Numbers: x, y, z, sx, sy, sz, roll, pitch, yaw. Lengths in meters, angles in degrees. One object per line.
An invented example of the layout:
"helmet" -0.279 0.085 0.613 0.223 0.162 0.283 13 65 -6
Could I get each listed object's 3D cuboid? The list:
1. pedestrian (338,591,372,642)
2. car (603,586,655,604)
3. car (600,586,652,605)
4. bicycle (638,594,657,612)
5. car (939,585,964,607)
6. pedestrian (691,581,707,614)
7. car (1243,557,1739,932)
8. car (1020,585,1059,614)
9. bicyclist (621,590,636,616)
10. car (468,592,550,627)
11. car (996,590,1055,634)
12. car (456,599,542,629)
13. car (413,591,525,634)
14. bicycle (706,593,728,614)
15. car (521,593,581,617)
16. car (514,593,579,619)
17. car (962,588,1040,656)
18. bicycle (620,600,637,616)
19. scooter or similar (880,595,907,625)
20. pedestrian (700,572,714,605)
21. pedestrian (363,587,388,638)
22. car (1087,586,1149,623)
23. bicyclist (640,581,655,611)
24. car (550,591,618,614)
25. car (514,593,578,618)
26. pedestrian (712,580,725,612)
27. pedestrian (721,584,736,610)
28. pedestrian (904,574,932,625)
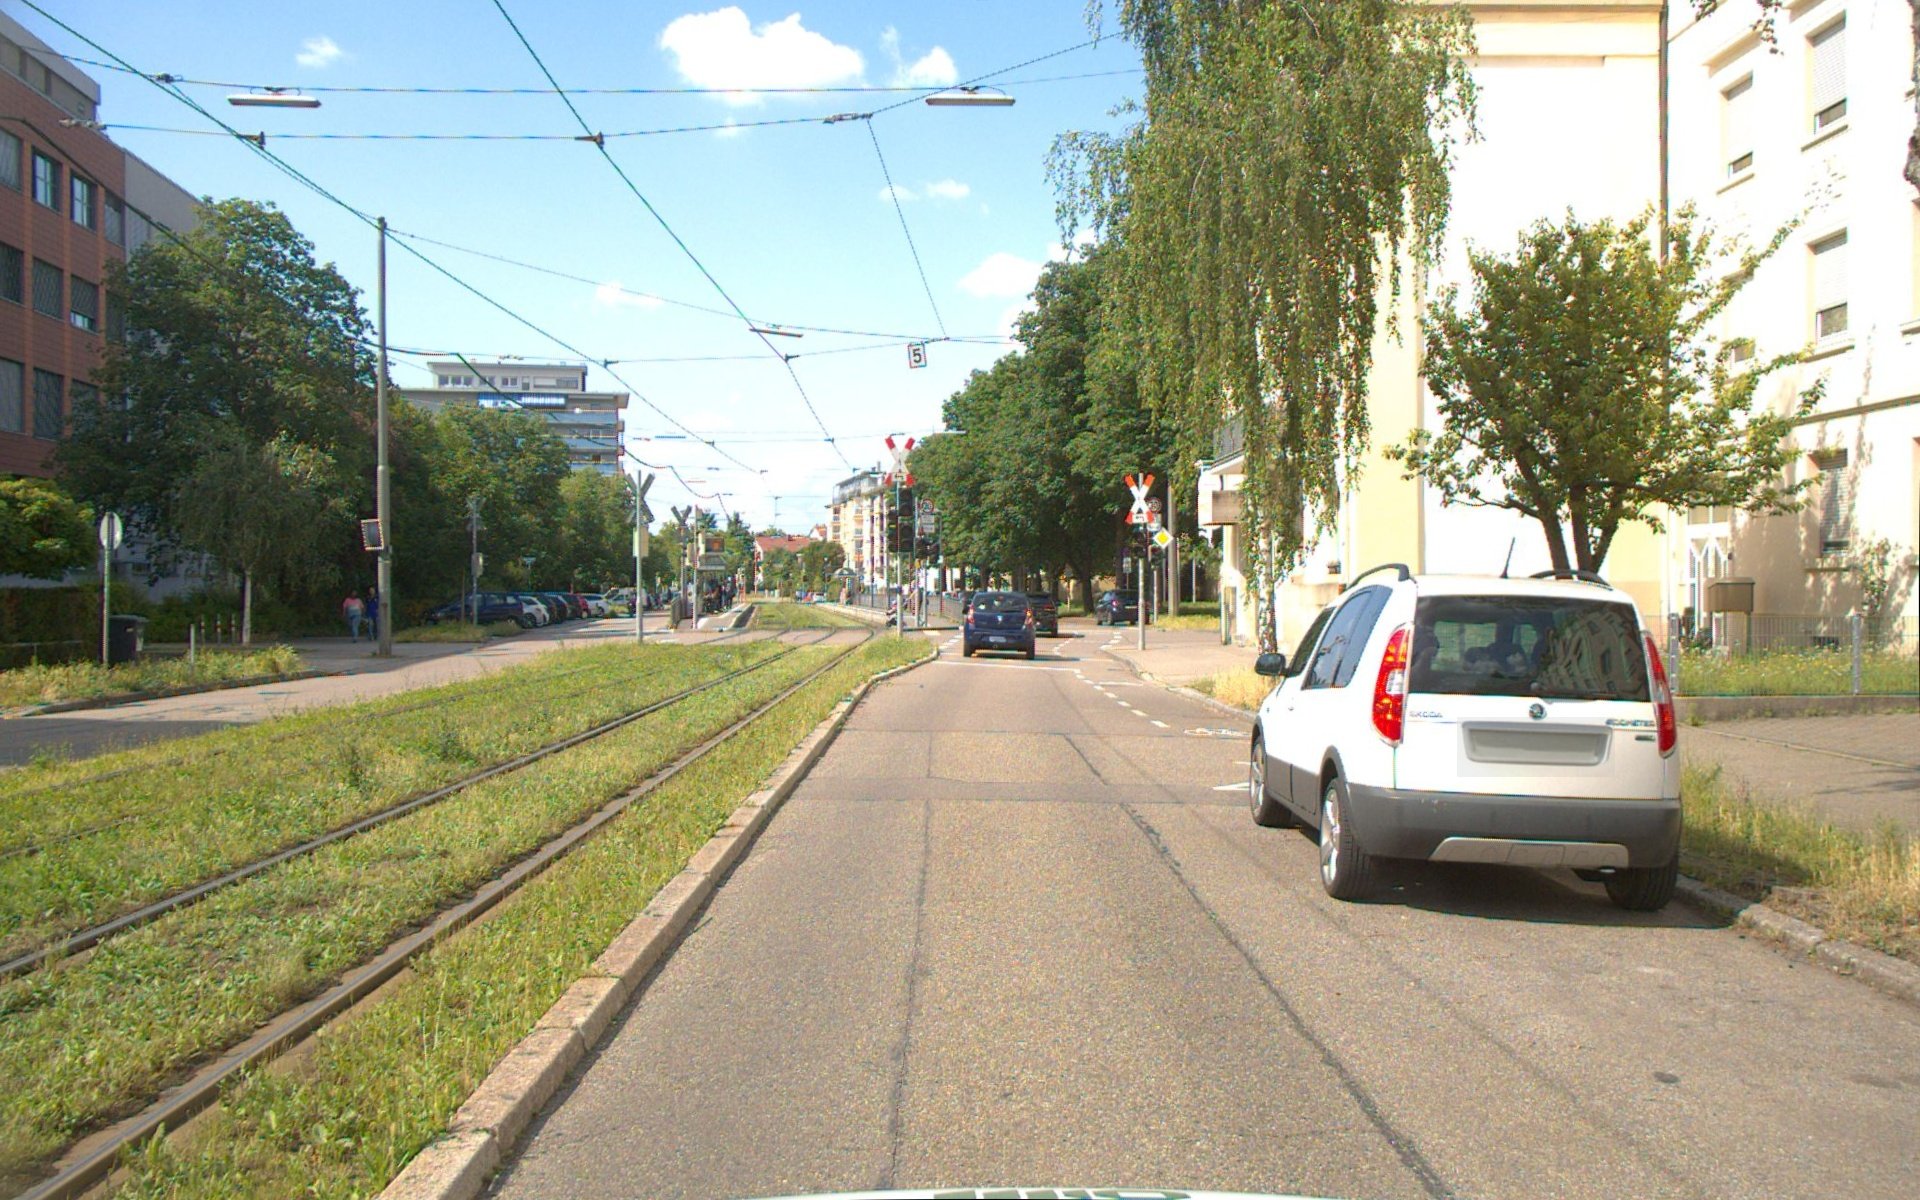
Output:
"pedestrian" -19.065 0.528 52.137 0.730 1.601 0.889 -1 -1 2
"car" -27.349 -0.445 136.707 3.964 1.472 1.702 -1 1 -41
"car" -26.551 -0.373 131.608 1.608 1.410 3.982 0 1 38
"bicycle" -21.002 0.208 111.175 1.134 1.198 1.782 -2 0 -13
"car" -0.700 -0.330 132.680 1.586 1.780 3.995 0 0 -6
"pedestrian" -12.912 -0.105 81.791 0.650 1.597 0.686 -2 0 2
"car" 2.777 0.648 9.599 1.685 1.658 4.001 2 0 2
"car" 4.275 -0.058 89.279 1.823 1.470 3.999 -2 0 -1
"bicyclist" -20.893 0.158 104.386 0.769 1.609 0.863 -1 0 -3
"car" -20.738 0.429 76.093 3.363 1.531 1.519 -1 0 -44
"car" 2.119 0.376 54.320 1.666 1.392 3.513 0 1 -2
"car" -20.291 0.611 72.820 1.518 1.258 3.365 0 1 44
"car" -19.883 0.467 67.076 1.697 1.669 4.104 0 1 44
"bicycle" -11.973 0.164 81.611 0.671 0.991 1.772 -3 1 4
"car" -23.799 0.289 96.390 1.428 1.332 3.232 0 1 38
"car" -21.957 0.305 87.825 1.427 1.332 3.235 0 1 35
"car" 0.953 0.488 39.305 1.731 1.487 3.776 2 0 1
"bicycle" -20.900 0.513 104.278 0.667 0.988 2.177 -1 0 -2
"scooter or similar" -2.464 0.377 60.909 0.936 1.083 0.796 1 0 -7
"pedestrian" -13.473 -0.602 88.154 0.642 1.722 0.655 -1 0 -6
"pedestrian" -19.277 0.404 54.549 0.545 1.686 0.747 -1 0 2
"car" 6.537 0.171 68.765 1.732 1.458 3.898 -1 1 -7
"bicyclist" -21.027 -0.266 111.138 0.931 2.049 1.571 0 0 -13
"car" -24.186 0.130 106.472 1.686 1.391 3.975 -1 1 42
"car" -22.555 0.274 90.178 1.428 1.332 3.232 0 1 38
"pedestrian" -13.641 -0.248 93.331 0.591 1.797 0.639 0 0 3
"pedestrian" -13.154 -0.194 93.962 0.642 1.451 0.562 -1 0 31
"pedestrian" -1.566 -0.020 61.252 0.854 1.806 1.002 -3 0 -7
